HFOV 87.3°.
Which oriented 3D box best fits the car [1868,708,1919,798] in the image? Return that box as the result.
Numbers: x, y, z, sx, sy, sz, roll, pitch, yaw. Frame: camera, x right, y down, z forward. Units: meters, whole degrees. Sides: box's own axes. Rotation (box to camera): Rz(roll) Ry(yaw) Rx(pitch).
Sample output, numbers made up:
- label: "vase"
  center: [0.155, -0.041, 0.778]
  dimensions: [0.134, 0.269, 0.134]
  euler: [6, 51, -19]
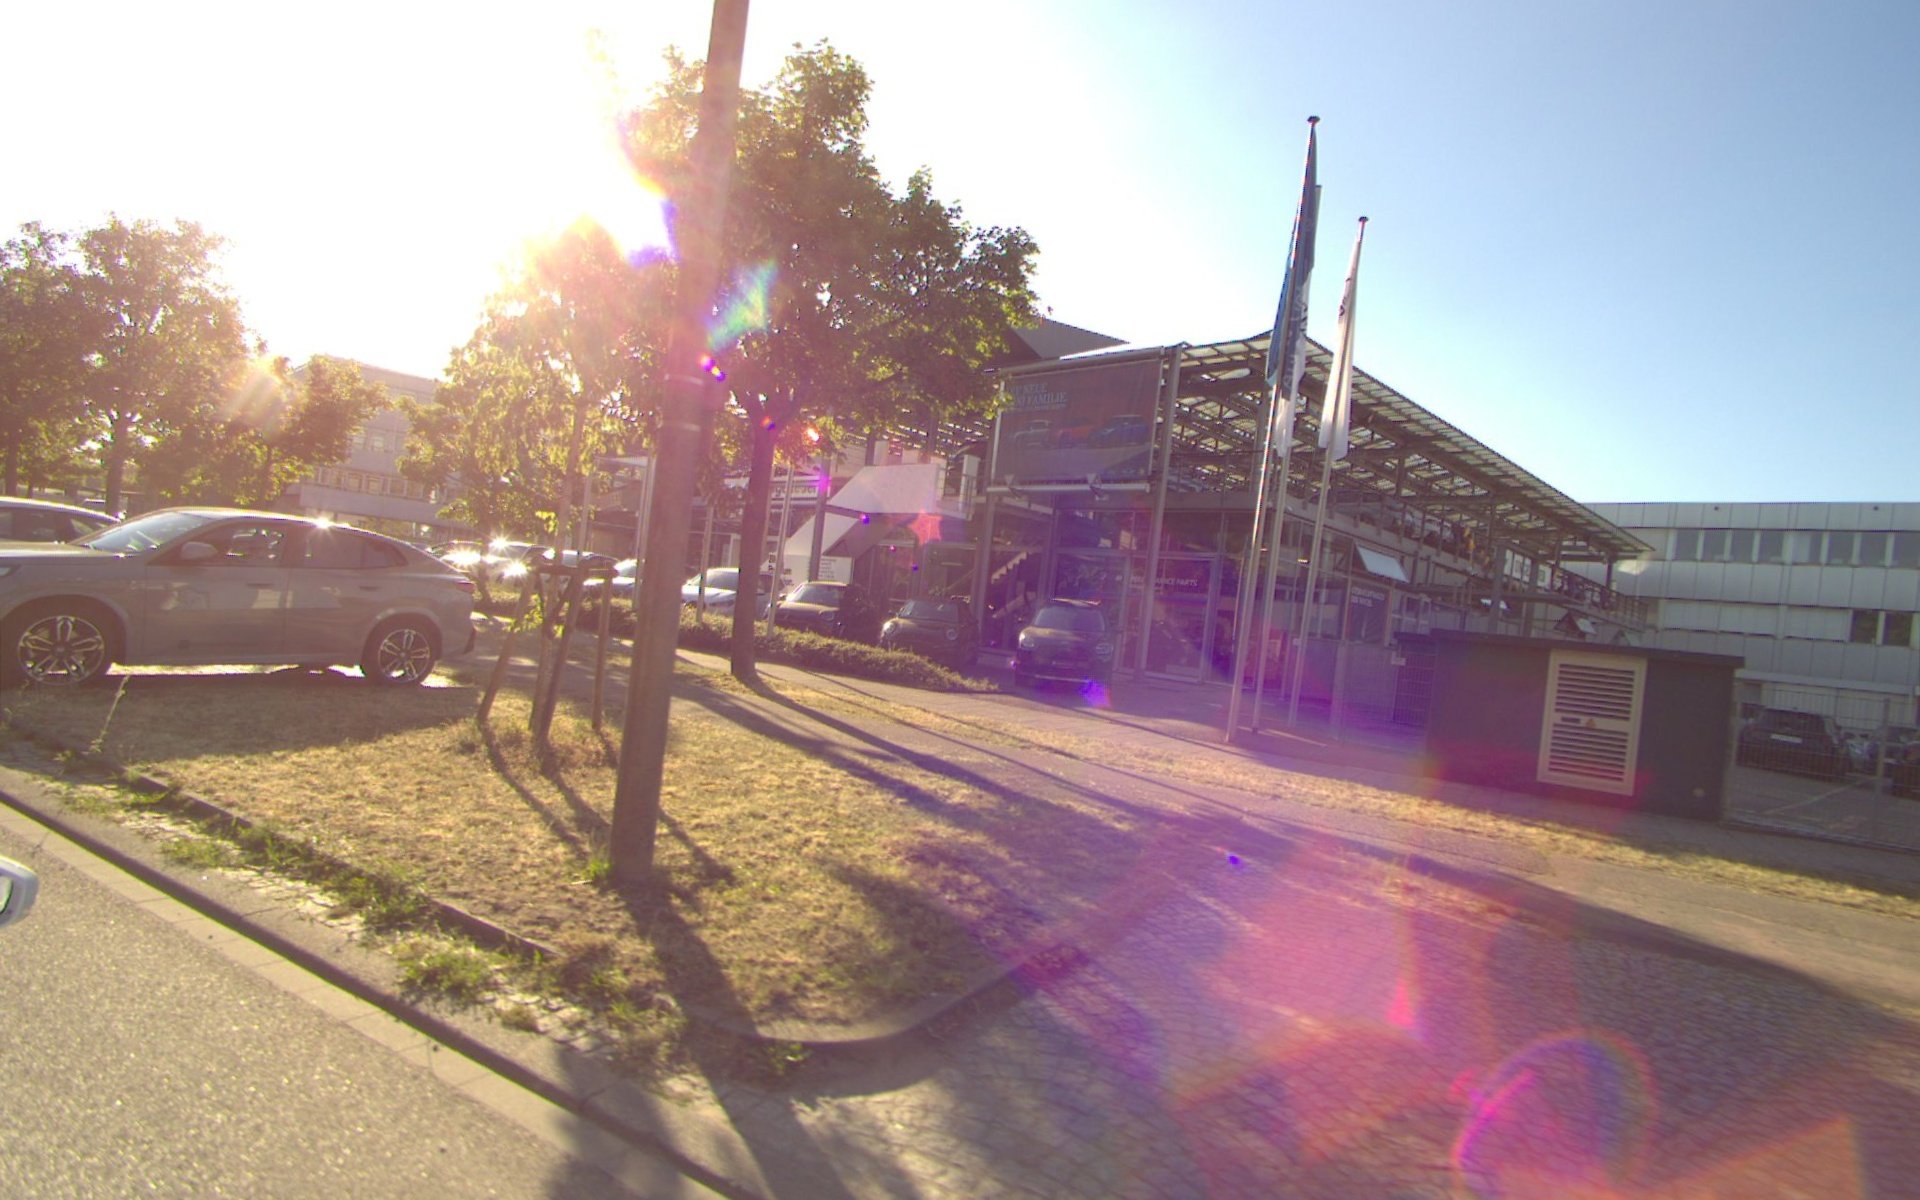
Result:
- label: "car"
  center: [20.324, 3.259, 20.498]
  dimensions: [3.969, 1.599, 1.976]
  euler: [7, 4, -40]

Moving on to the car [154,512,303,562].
- label: "car"
  center: [-31.656, -2.710, 43.715]
  dimensions: [4.718, 1.482, 2.039]
  euler: [7, 0, -18]

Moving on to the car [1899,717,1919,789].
- label: "car"
  center: [24.057, 3.825, 23.835]
  dimensions: [3.969, 1.599, 1.976]
  euler: [7, 4, -40]

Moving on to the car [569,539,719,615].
- label: "car"
  center: [-7.983, -0.539, 25.957]
  dimensions: [1.962, 1.594, 4.605]
  euler: [6, 1, 5]

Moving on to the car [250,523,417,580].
- label: "car"
  center: [-23.077, -1.749, 37.248]
  dimensions: [4.712, 1.482, 1.995]
  euler: [7, 0, -13]

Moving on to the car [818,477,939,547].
- label: "car"
  center: [-2.851, -3.090, 35.870]
  dimensions: [1.764, 1.685, 3.982]
  euler: [7, -3, 44]

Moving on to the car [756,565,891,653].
- label: "car"
  center: [-2.973, 0.223, 23.006]
  dimensions: [1.962, 1.593, 4.607]
  euler: [6, 0, 5]

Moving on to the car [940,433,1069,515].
- label: "car"
  center: [1.468, -3.944, 32.013]
  dimensions: [1.764, 1.685, 3.982]
  euler: [7, -3, 44]

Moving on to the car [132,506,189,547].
- label: "car"
  center: [-43.433, -4.020, 54.607]
  dimensions: [2.024, 1.850, 4.506]
  euler: [7, 0, -42]

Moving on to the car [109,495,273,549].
- label: "car"
  center: [-30.822, -3.095, 40.506]
  dimensions: [4.718, 1.482, 1.993]
  euler: [7, 0, -18]

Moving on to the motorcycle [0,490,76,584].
- label: "motorcycle"
  center: [-16.219, -1.105, 16.658]
  dimensions: [0.932, 1.484, 2.131]
  euler: [6, 0, 16]

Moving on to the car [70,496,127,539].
- label: "car"
  center: [-44.593, -4.278, 52.008]
  dimensions: [2.024, 1.850, 4.917]
  euler: [7, 0, -42]

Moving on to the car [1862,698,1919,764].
- label: "car"
  center: [29.648, 4.116, 31.218]
  dimensions: [3.973, 1.762, 1.976]
  euler: [7, 0, -43]

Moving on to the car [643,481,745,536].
- label: "car"
  center: [-11.957, -4.095, 45.389]
  dimensions: [1.764, 1.685, 3.982]
  euler: [7, -3, 44]

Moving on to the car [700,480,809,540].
- label: "car"
  center: [-8.504, -3.713, 41.793]
  dimensions: [1.764, 1.685, 3.982]
  euler: [7, -3, 44]

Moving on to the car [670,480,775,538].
- label: "car"
  center: [-10.248, -3.906, 43.619]
  dimensions: [1.764, 1.685, 3.982]
  euler: [7, -3, 44]

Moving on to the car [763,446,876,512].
- label: "car"
  center: [-5.469, -4.699, 39.517]
  dimensions: [1.764, 1.685, 3.981]
  euler: [7, -3, 45]

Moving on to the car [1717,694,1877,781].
- label: "car"
  center: [19.026, 3.102, 22.814]
  dimensions: [3.969, 1.465, 1.977]
  euler: [7, 2, -40]

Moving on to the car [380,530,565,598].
- label: "car"
  center: [-16.116, -1.150, 33.528]
  dimensions: [5.107, 1.591, 1.995]
  euler: [7, 0, -13]

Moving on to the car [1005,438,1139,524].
- label: "car"
  center: [3.411, -3.511, 30.200]
  dimensions: [1.764, 1.685, 3.982]
  euler: [7, -3, 44]

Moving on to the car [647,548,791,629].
- label: "car"
  center: [-5.765, -0.251, 24.705]
  dimensions: [1.962, 1.594, 4.605]
  euler: [6, 1, 5]

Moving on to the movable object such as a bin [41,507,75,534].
- label: "movable object such as a bin"
  center: [-48.409, -4.257, 53.975]
  dimensions: [1.023, 1.283, 1.116]
  euler: [6, 0, 39]

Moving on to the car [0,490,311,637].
- label: "car"
  center: [-10.543, -0.457, 11.872]
  dimensions: [1.967, 1.498, 4.379]
  euler: [6, 1, 31]

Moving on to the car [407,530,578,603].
- label: "car"
  center: [-13.423, -0.900, 29.302]
  dimensions: [2.365, 1.712, 4.729]
  euler: [6, 1, 5]

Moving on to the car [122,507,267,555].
- label: "car"
  center: [-34.577, -3.085, 45.613]
  dimensions: [4.718, 1.482, 1.993]
  euler: [7, 0, -18]

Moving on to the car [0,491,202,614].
- label: "car"
  center: [-13.000, -0.731, 13.046]
  dimensions: [1.967, 1.475, 4.628]
  euler: [6, 1, 31]

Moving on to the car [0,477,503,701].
- label: "car"
  center: [-6.907, -0.090, 9.244]
  dimensions: [1.966, 1.605, 4.596]
  euler: [6, 1, 28]

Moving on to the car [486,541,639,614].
- label: "car"
  center: [-10.854, -0.544, 27.881]
  dimensions: [1.962, 1.593, 4.607]
  euler: [6, 0, 5]

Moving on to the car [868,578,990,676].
- label: "car"
  center: [-0.530, 0.522, 21.789]
  dimensions: [1.962, 1.688, 4.605]
  euler: [6, 1, 5]

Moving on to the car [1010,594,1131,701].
- label: "car"
  center: [2.181, 0.840, 20.058]
  dimensions: [1.962, 1.688, 4.605]
  euler: [6, 1, 6]

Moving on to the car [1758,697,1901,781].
- label: "car"
  center: [22.472, 3.574, 25.969]
  dimensions: [3.969, 1.599, 1.976]
  euler: [7, 4, -40]
